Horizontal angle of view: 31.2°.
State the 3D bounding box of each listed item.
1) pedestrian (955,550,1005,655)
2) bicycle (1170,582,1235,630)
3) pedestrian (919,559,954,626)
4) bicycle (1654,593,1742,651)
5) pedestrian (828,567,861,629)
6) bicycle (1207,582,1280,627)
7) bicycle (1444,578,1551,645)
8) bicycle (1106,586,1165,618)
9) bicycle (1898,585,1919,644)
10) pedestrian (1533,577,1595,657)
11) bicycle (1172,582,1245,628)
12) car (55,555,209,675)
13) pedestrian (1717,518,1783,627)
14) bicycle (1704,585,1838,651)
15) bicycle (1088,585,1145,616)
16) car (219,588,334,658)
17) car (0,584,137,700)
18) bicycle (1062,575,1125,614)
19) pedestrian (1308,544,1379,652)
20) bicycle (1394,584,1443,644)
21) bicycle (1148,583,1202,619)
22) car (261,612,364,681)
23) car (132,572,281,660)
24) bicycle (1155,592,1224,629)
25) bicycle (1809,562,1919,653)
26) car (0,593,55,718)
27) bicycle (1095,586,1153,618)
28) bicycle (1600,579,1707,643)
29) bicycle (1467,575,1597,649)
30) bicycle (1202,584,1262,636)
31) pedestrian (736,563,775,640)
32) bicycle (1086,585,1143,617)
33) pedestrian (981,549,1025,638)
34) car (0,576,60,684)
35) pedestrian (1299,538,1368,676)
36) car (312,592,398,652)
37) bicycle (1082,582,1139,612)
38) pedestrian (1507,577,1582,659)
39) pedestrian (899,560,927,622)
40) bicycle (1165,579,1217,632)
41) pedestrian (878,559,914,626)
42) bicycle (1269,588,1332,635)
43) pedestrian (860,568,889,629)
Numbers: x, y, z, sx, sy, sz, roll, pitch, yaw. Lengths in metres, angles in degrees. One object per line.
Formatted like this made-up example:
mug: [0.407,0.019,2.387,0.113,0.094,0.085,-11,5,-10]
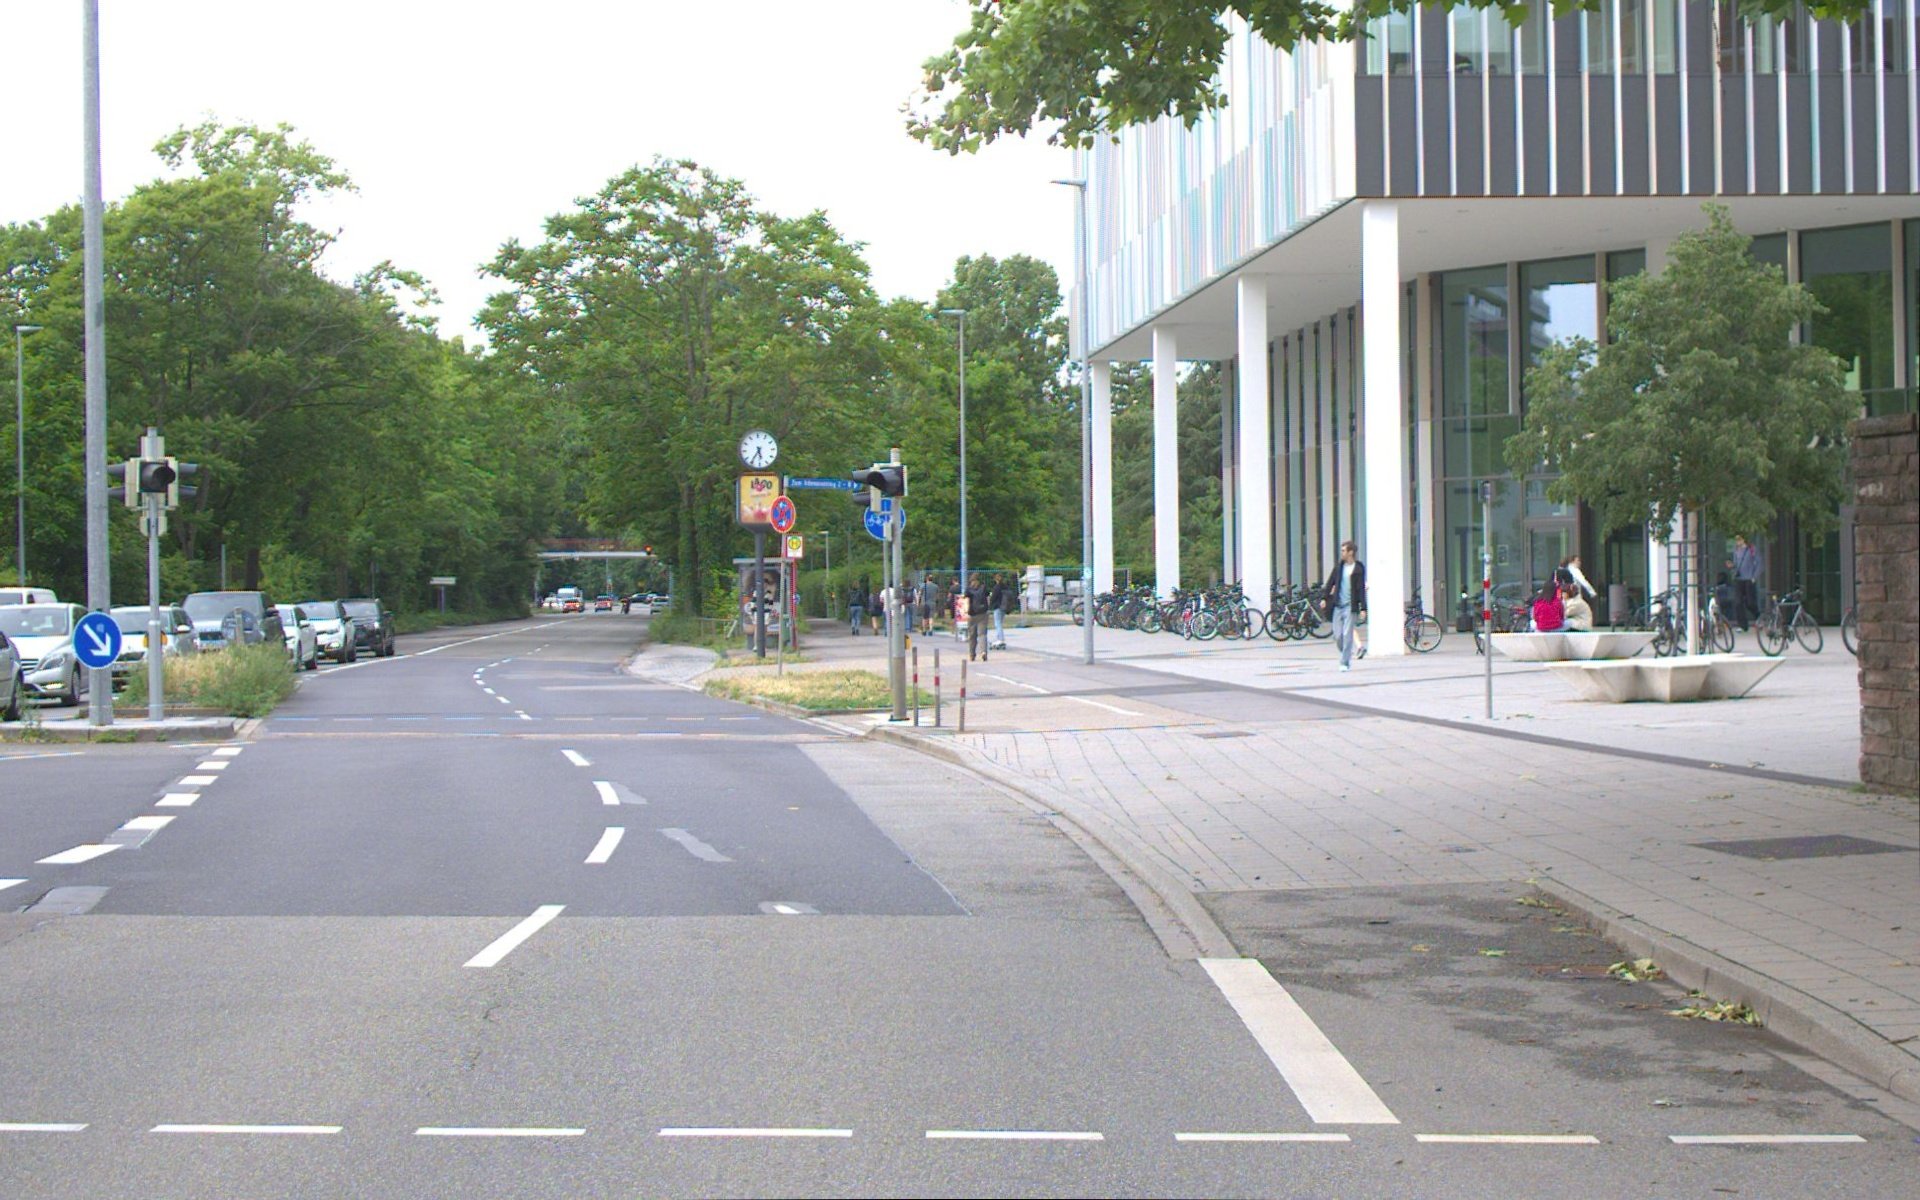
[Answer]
pedestrian: [0.388,0.040,67.611,0.842,2.007,0.894,-3,0,-3]
bicycle: [5.688,0.132,80.627,1.400,1.040,0.559,-3,0,-4]
pedestrian: [-0.727,-0.221,104.642,0.925,2.007,1.040,-1,0,-7]
bicycle: [12.066,0.352,56.178,0.671,0.896,1.842,-1,1,37]
pedestrian: [-3.828,-0.068,113.904,0.925,2.007,1.040,-1,0,-9]
bicycle: [6.579,0.096,79.770,1.606,0.932,0.568,-3,1,7]
bicycle: [9.399,0.195,60.028,0.736,1.112,2.178,-1,1,43]
bicycle: [5.028,0.051,98.443,1.606,0.872,0.556,-2,0,-4]
bicycle: [14.887,0.208,52.595,0.394,0.896,1.469,-1,0,42]
pedestrian: [9.185,0.254,52.284,0.892,1.189,0.845,-1,0,10]
bicycle: [5.873,0.116,81.210,1.606,0.979,0.556,-4,0,-4]
car: [-14.686,0.249,61.172,1.993,2.007,4.001,-1,0,-4]
pedestrian: [15.104,-0.523,65.683,1.182,2.055,1.135,1,0,14]
bicycle: [12.947,0.284,54.850,2.185,1.002,0.782,-1,0,-34]
bicycle: [4.615,0.010,101.214,1.606,0.872,0.556,-2,0,-4]
car: [-15.053,0.489,75.968,1.903,1.460,4.911,1,0,-4]
car: [-13.790,0.593,51.575,1.957,1.578,4.256,1,1,-2]
bicycle: [4.043,-0.161,104.140,1.794,1.078,0.626,-3,1,-6]
pedestrian: [6.617,-0.036,59.353,0.842,1.829,0.894,-1,0,-24]
bicycle: [8.277,0.247,62.105,0.638,1.058,1.840,1,0,0]
bicycle: [5.478,0.020,87.580,1.283,0.872,0.556,-2,0,-4]
car: [-15.989,1.135,85.029,1.993,1.541,4.180,-2,0,-4]
car: [-15.017,0.290,68.762,1.993,1.681,4.948,1,0,-1]
bicycle: [5.621,0.254,84.121,1.606,0.872,0.556,-1,0,-4]
bicycle: [14.202,0.105,53.390,2.001,1.301,0.646,-3,2,-26]
car: [-12.849,0.706,42.582,1.993,1.524,4.273,-1,0,2]
bicycle: [4.759,0.056,99.617,1.606,0.872,0.556,-2,0,-4]
bicycle: [11.470,0.176,56.819,0.774,0.998,1.955,-1,1,44]
bicycle: [9.771,0.199,58.649,0.774,1.184,2.713,-1,1,44]
bicycle: [5.864,0.212,74.251,0.607,1.076,1.963,-3,1,-16]
pedestrian: [-5.497,0.030,92.306,0.912,2.006,0.854,-3,2,-5]
bicycle: [4.519,0.021,100.620,1.606,0.872,0.556,-2,0,-4]
pedestrian: [0.979,-0.141,78.578,0.842,2.007,0.894,-1,0,-7]
car: [-17.394,0.489,61.216,1.771,1.841,4.489,1,0,-3]
pedestrian: [5.505,0.097,50.740,0.842,2.007,0.894,-1,0,-3]
car: [-16.821,0.600,95.712,1.902,1.588,4.517,-1,0,-4]
bicycle: [4.512,-0.086,103.026,1.606,0.872,0.556,-1,0,-8]
pedestrian: [8.783,0.271,51.657,0.844,1.202,0.893,-1,0,30]
pedestrian: [-1.569,-0.298,113.990,0.824,2.007,0.720,-2,0,-5]
bicycle: [5.157,0.121,76.993,0.635,1.136,2.201,-4,0,-9]
pedestrian: [-1.955,-0.220,104.520,0.925,2.007,1.040,-1,0,-9]
bicycle: [7.172,0.243,72.435,1.484,0.926,0.440,-3,2,-43]
pedestrian: [-2.835,-0.047,113.677,0.823,2.007,0.720,-1,0,-9]
